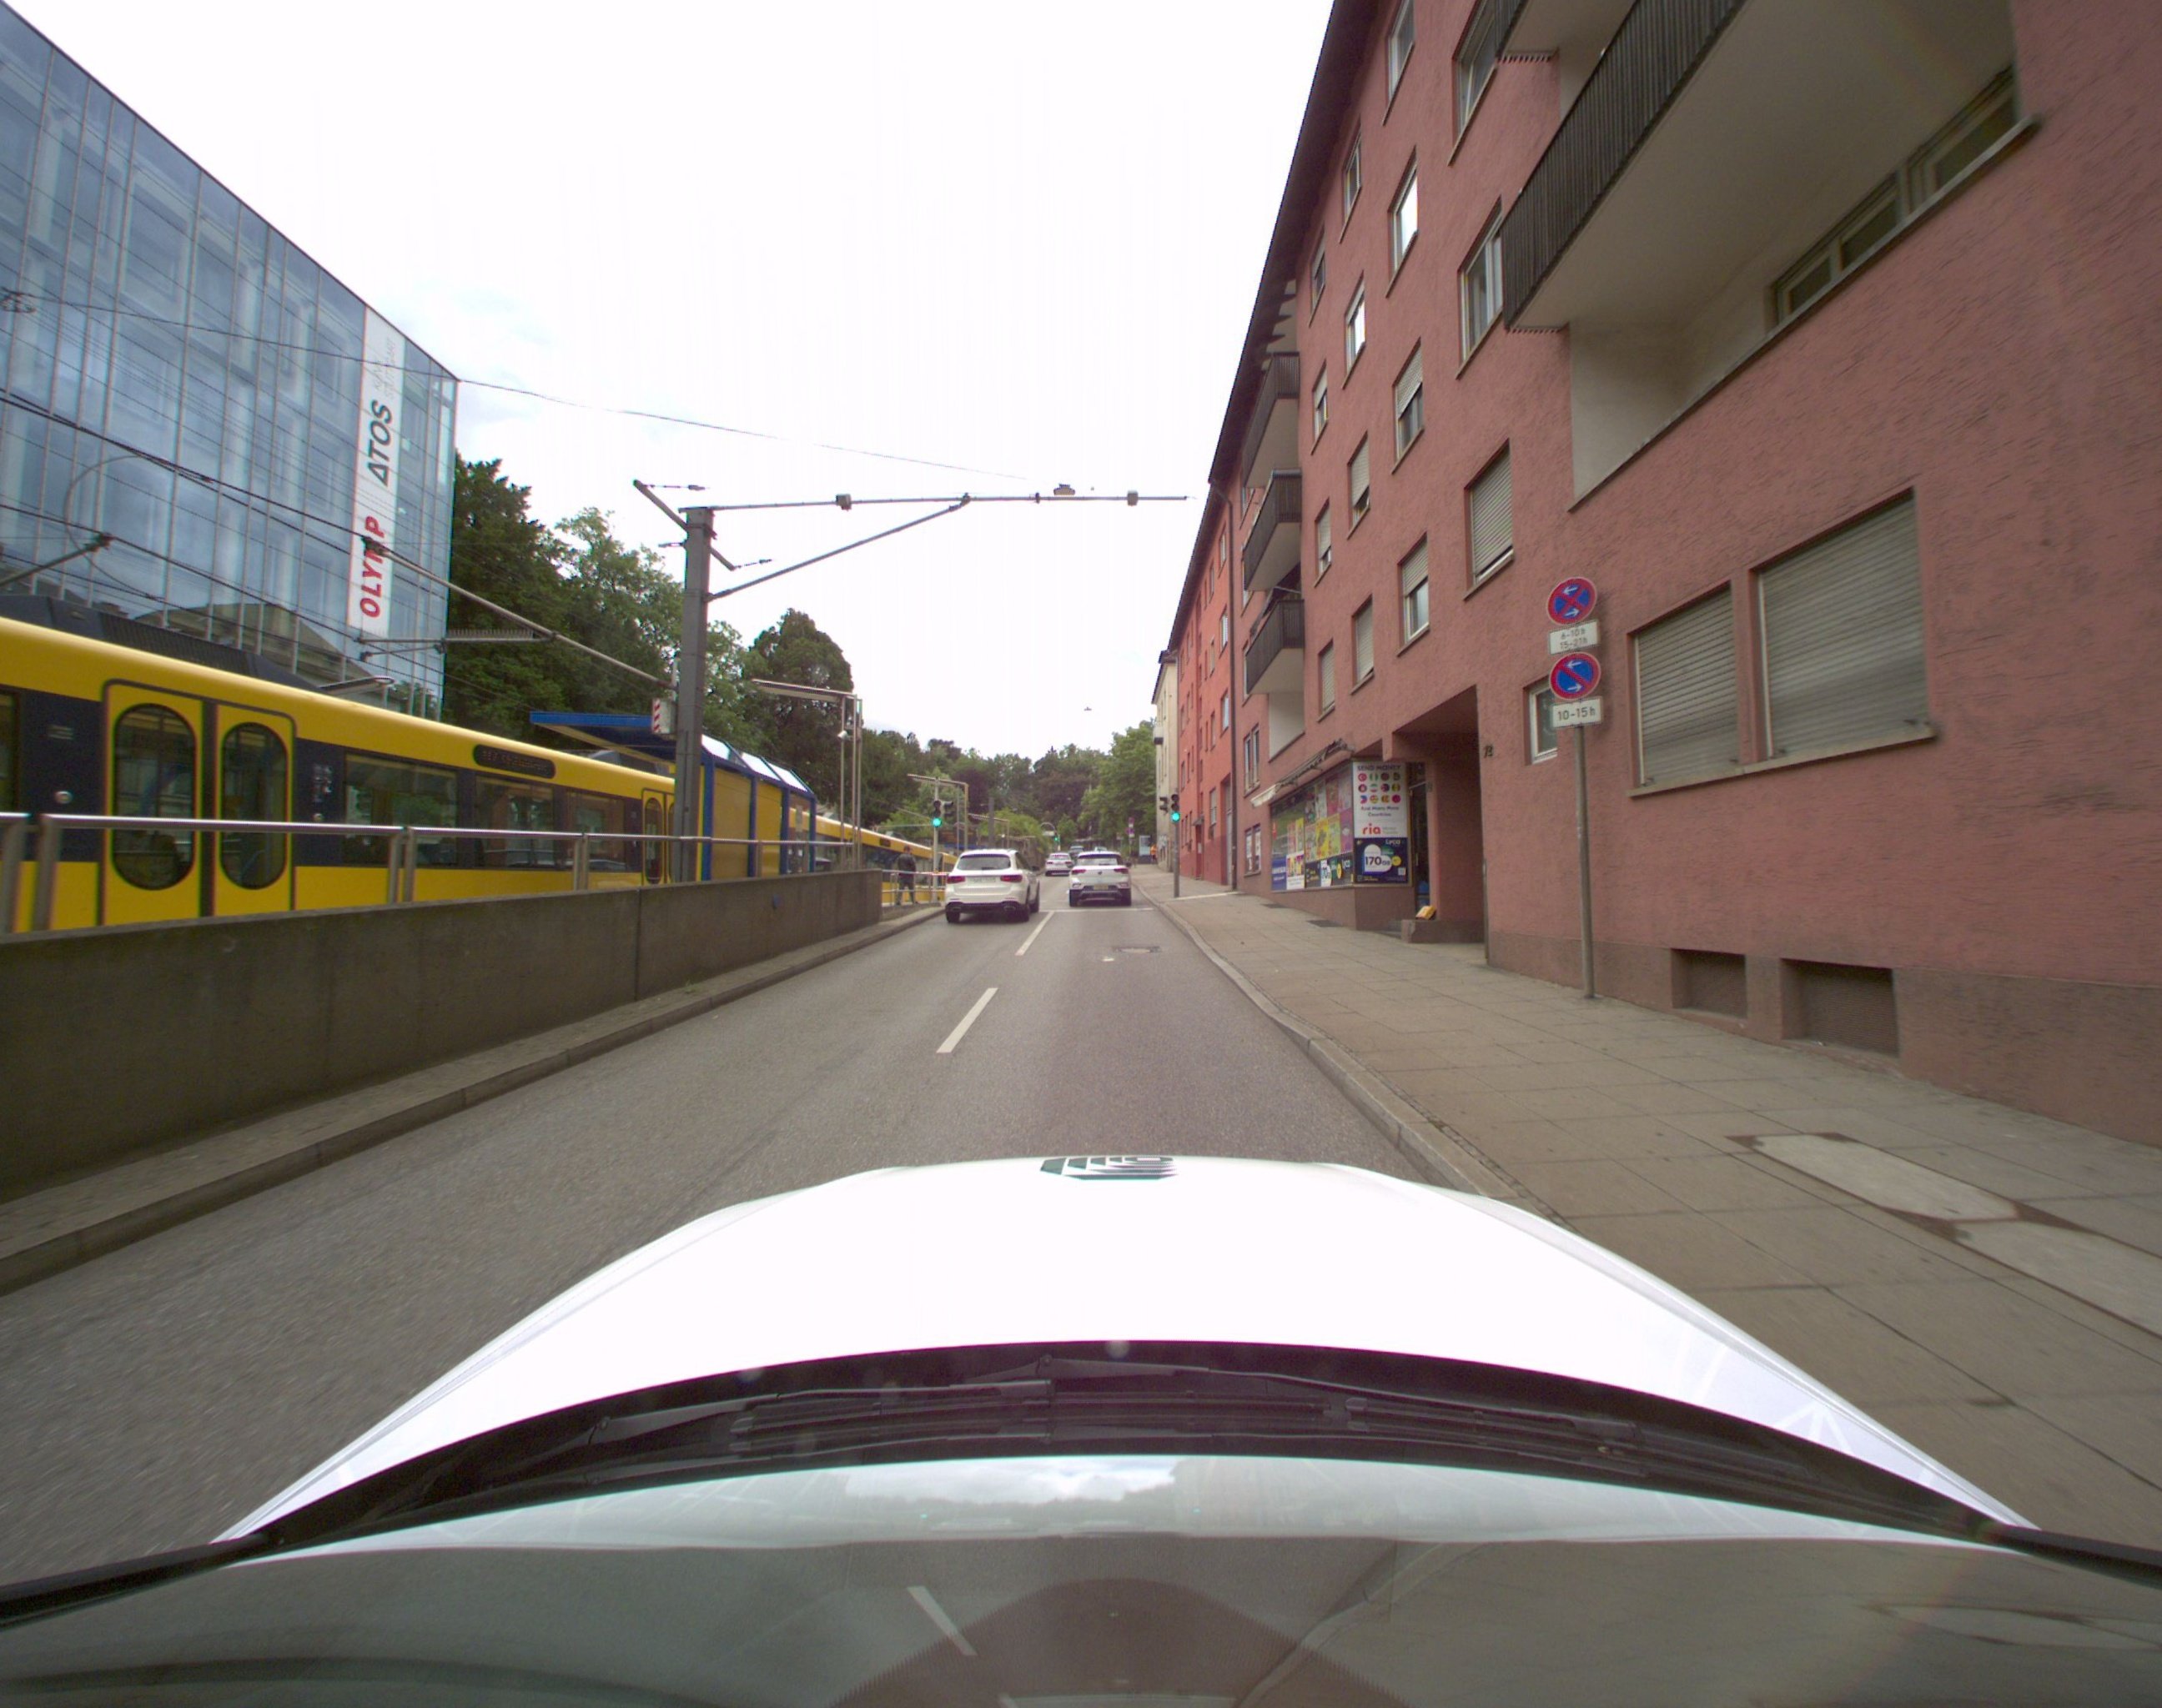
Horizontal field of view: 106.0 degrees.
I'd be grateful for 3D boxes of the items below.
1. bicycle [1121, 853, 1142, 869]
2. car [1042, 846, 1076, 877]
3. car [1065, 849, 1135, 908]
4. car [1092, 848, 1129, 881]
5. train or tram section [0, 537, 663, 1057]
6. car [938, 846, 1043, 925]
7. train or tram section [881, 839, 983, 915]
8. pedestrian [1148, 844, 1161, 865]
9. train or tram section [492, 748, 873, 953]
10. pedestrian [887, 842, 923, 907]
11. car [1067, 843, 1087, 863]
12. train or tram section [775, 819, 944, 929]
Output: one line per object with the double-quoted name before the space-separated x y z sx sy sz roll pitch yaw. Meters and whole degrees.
"bicycle" 3.700 0.501 59.928 0.642 1.143 2.049 -5 1 -24
"car" -1.358 0.472 52.385 1.986 1.881 4.001 1 0 1
"car" 0.610 0.659 24.229 1.857 1.556 3.897 -2 0 3
"car" 1.534 0.535 42.405 1.854 1.632 3.961 0 0 2
"train or tram section" -8.774 -0.300 7.604 2.938 3.544 12.400 0 -2 2
"car" -2.050 0.674 19.607 1.870 1.652 4.343 -2 0 2
"train or tram section" -7.798 1.246 44.717 2.939 3.509 12.987 -1 -1 1
"pedestrian" 6.020 0.020 66.998 0.834 1.712 0.818 -2 0 -12
"train or tram section" -8.321 0.279 19.960 2.938 3.472 12.220 -1 -3 2
"pedestrian" -4.951 0.565 22.916 0.797 1.777 0.819 0 0 1
"car" -0.327 -0.093 77.396 1.743 1.881 4.001 1 0 1
"train or tram section" -8.089 0.853 32.106 2.938 3.484 12.221 -1 -2 2
